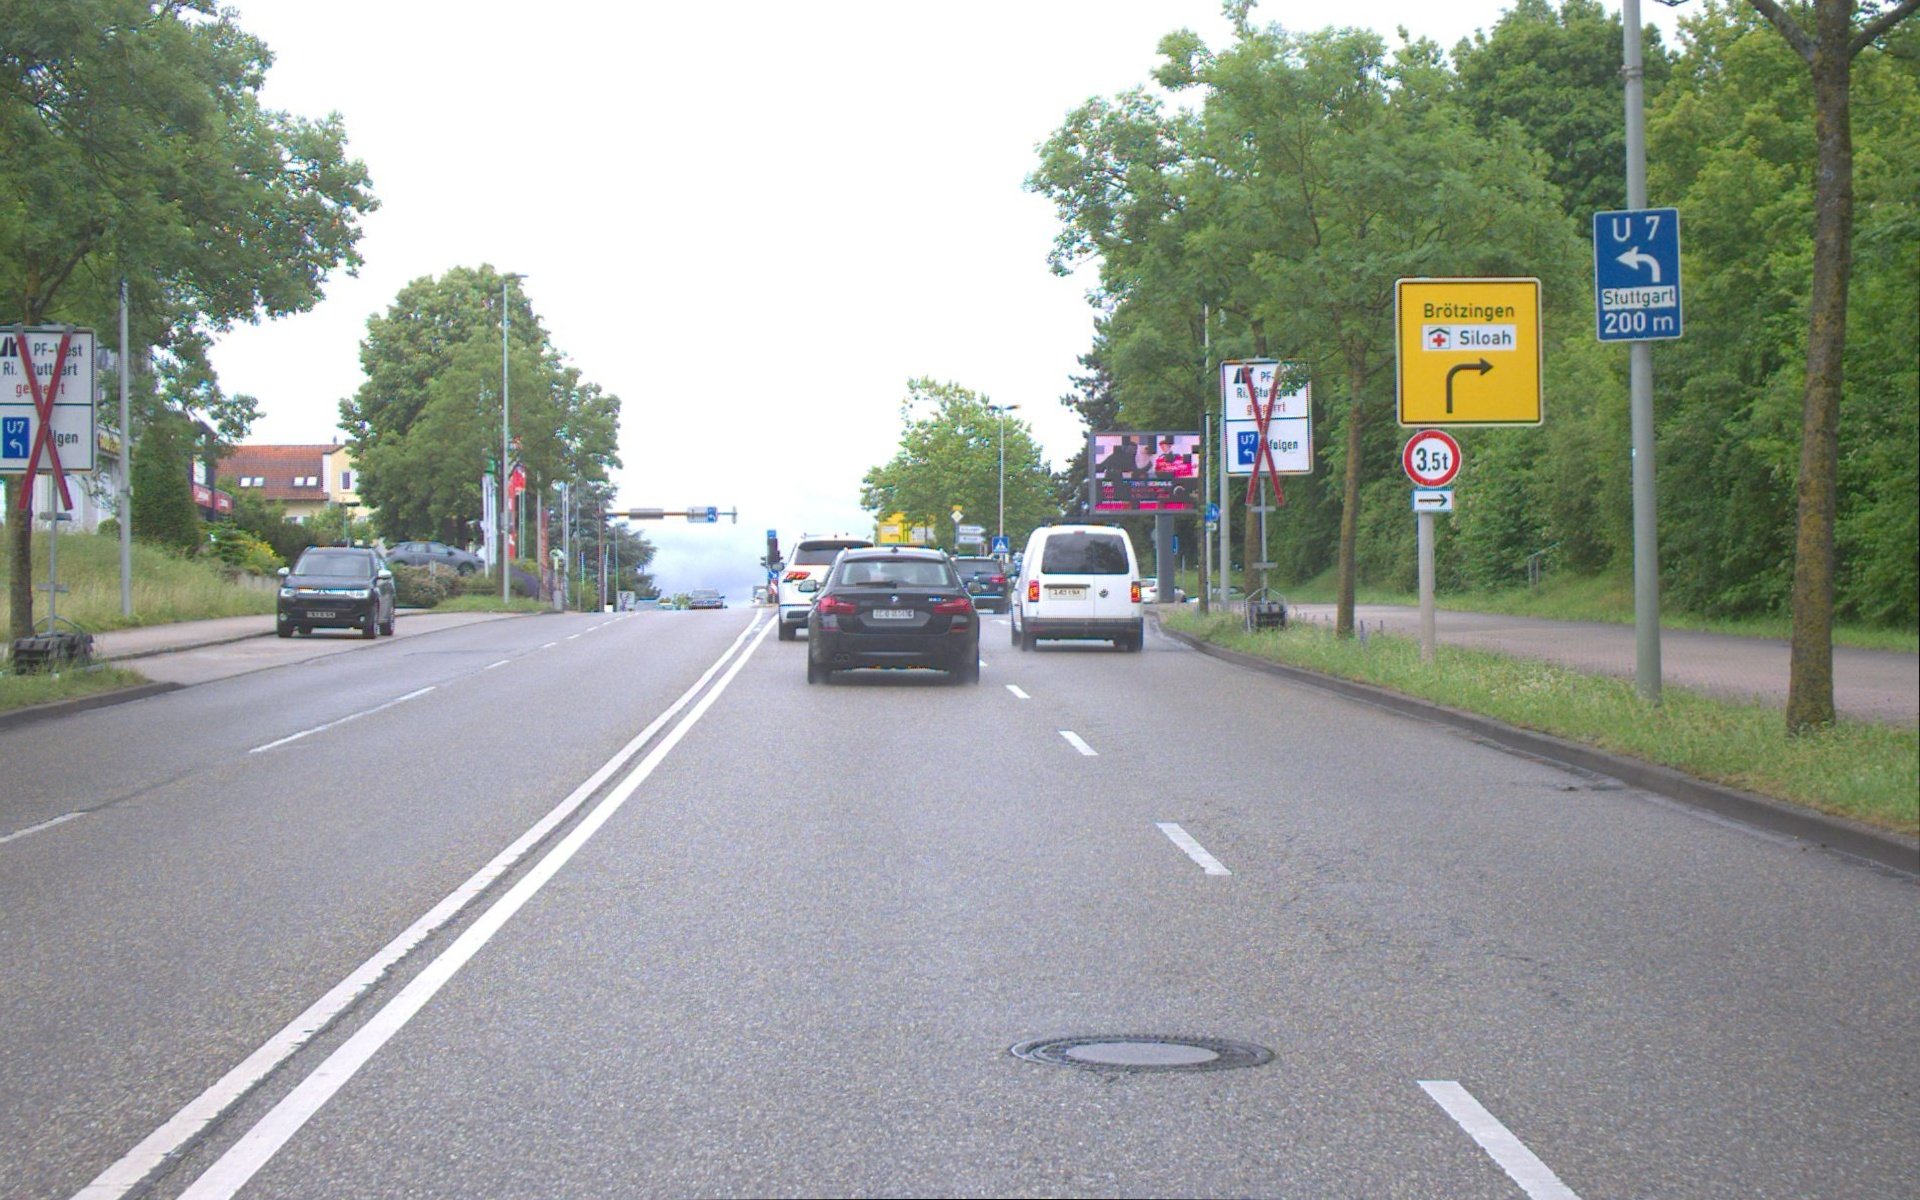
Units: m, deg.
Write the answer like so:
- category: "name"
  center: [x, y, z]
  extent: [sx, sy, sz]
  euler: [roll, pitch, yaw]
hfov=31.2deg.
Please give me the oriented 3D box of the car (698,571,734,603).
- category: "car"
  center: [-12.743, -0.712, 179.997]
  extent: [1.795, 1.578, 4.199]
  euler: [-1, 1, -3]

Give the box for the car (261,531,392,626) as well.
- category: "car"
  center: [-11.763, -0.423, 64.048]
  extent: [1.726, 1.662, 4.488]
  euler: [1, 1, -2]

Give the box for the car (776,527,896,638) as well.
- category: "car"
  center: [-1.954, -0.303, 54.992]
  extent: [1.728, 1.705, 3.382]
  euler: [1, 1, 1]

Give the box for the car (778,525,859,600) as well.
- category: "car"
  center: [-3.296, -0.902, 80.857]
  extent: [1.758, 1.702, 3.946]
  euler: [0, 1, 0]

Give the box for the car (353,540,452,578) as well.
- category: "car"
  center: [-21.943, -1.611, 135.363]
  extent: [3.825, 1.477, 1.742]
  euler: [0, 0, -9]

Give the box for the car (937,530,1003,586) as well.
- category: "car"
  center: [0.242, -1.088, 88.120]
  extent: [1.600, 1.367, 3.680]
  euler: [-1, 1, -1]

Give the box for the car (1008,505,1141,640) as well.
- category: "car"
  center: [1.635, -0.415, 50.214]
  extent: [1.741, 1.863, 3.946]
  euler: [1, 1, 0]

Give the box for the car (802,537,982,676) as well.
- category: "car"
  center: [-0.705, 0.033, 37.692]
  extent: [1.855, 1.414, 3.957]
  euler: [1, 1, 0]
